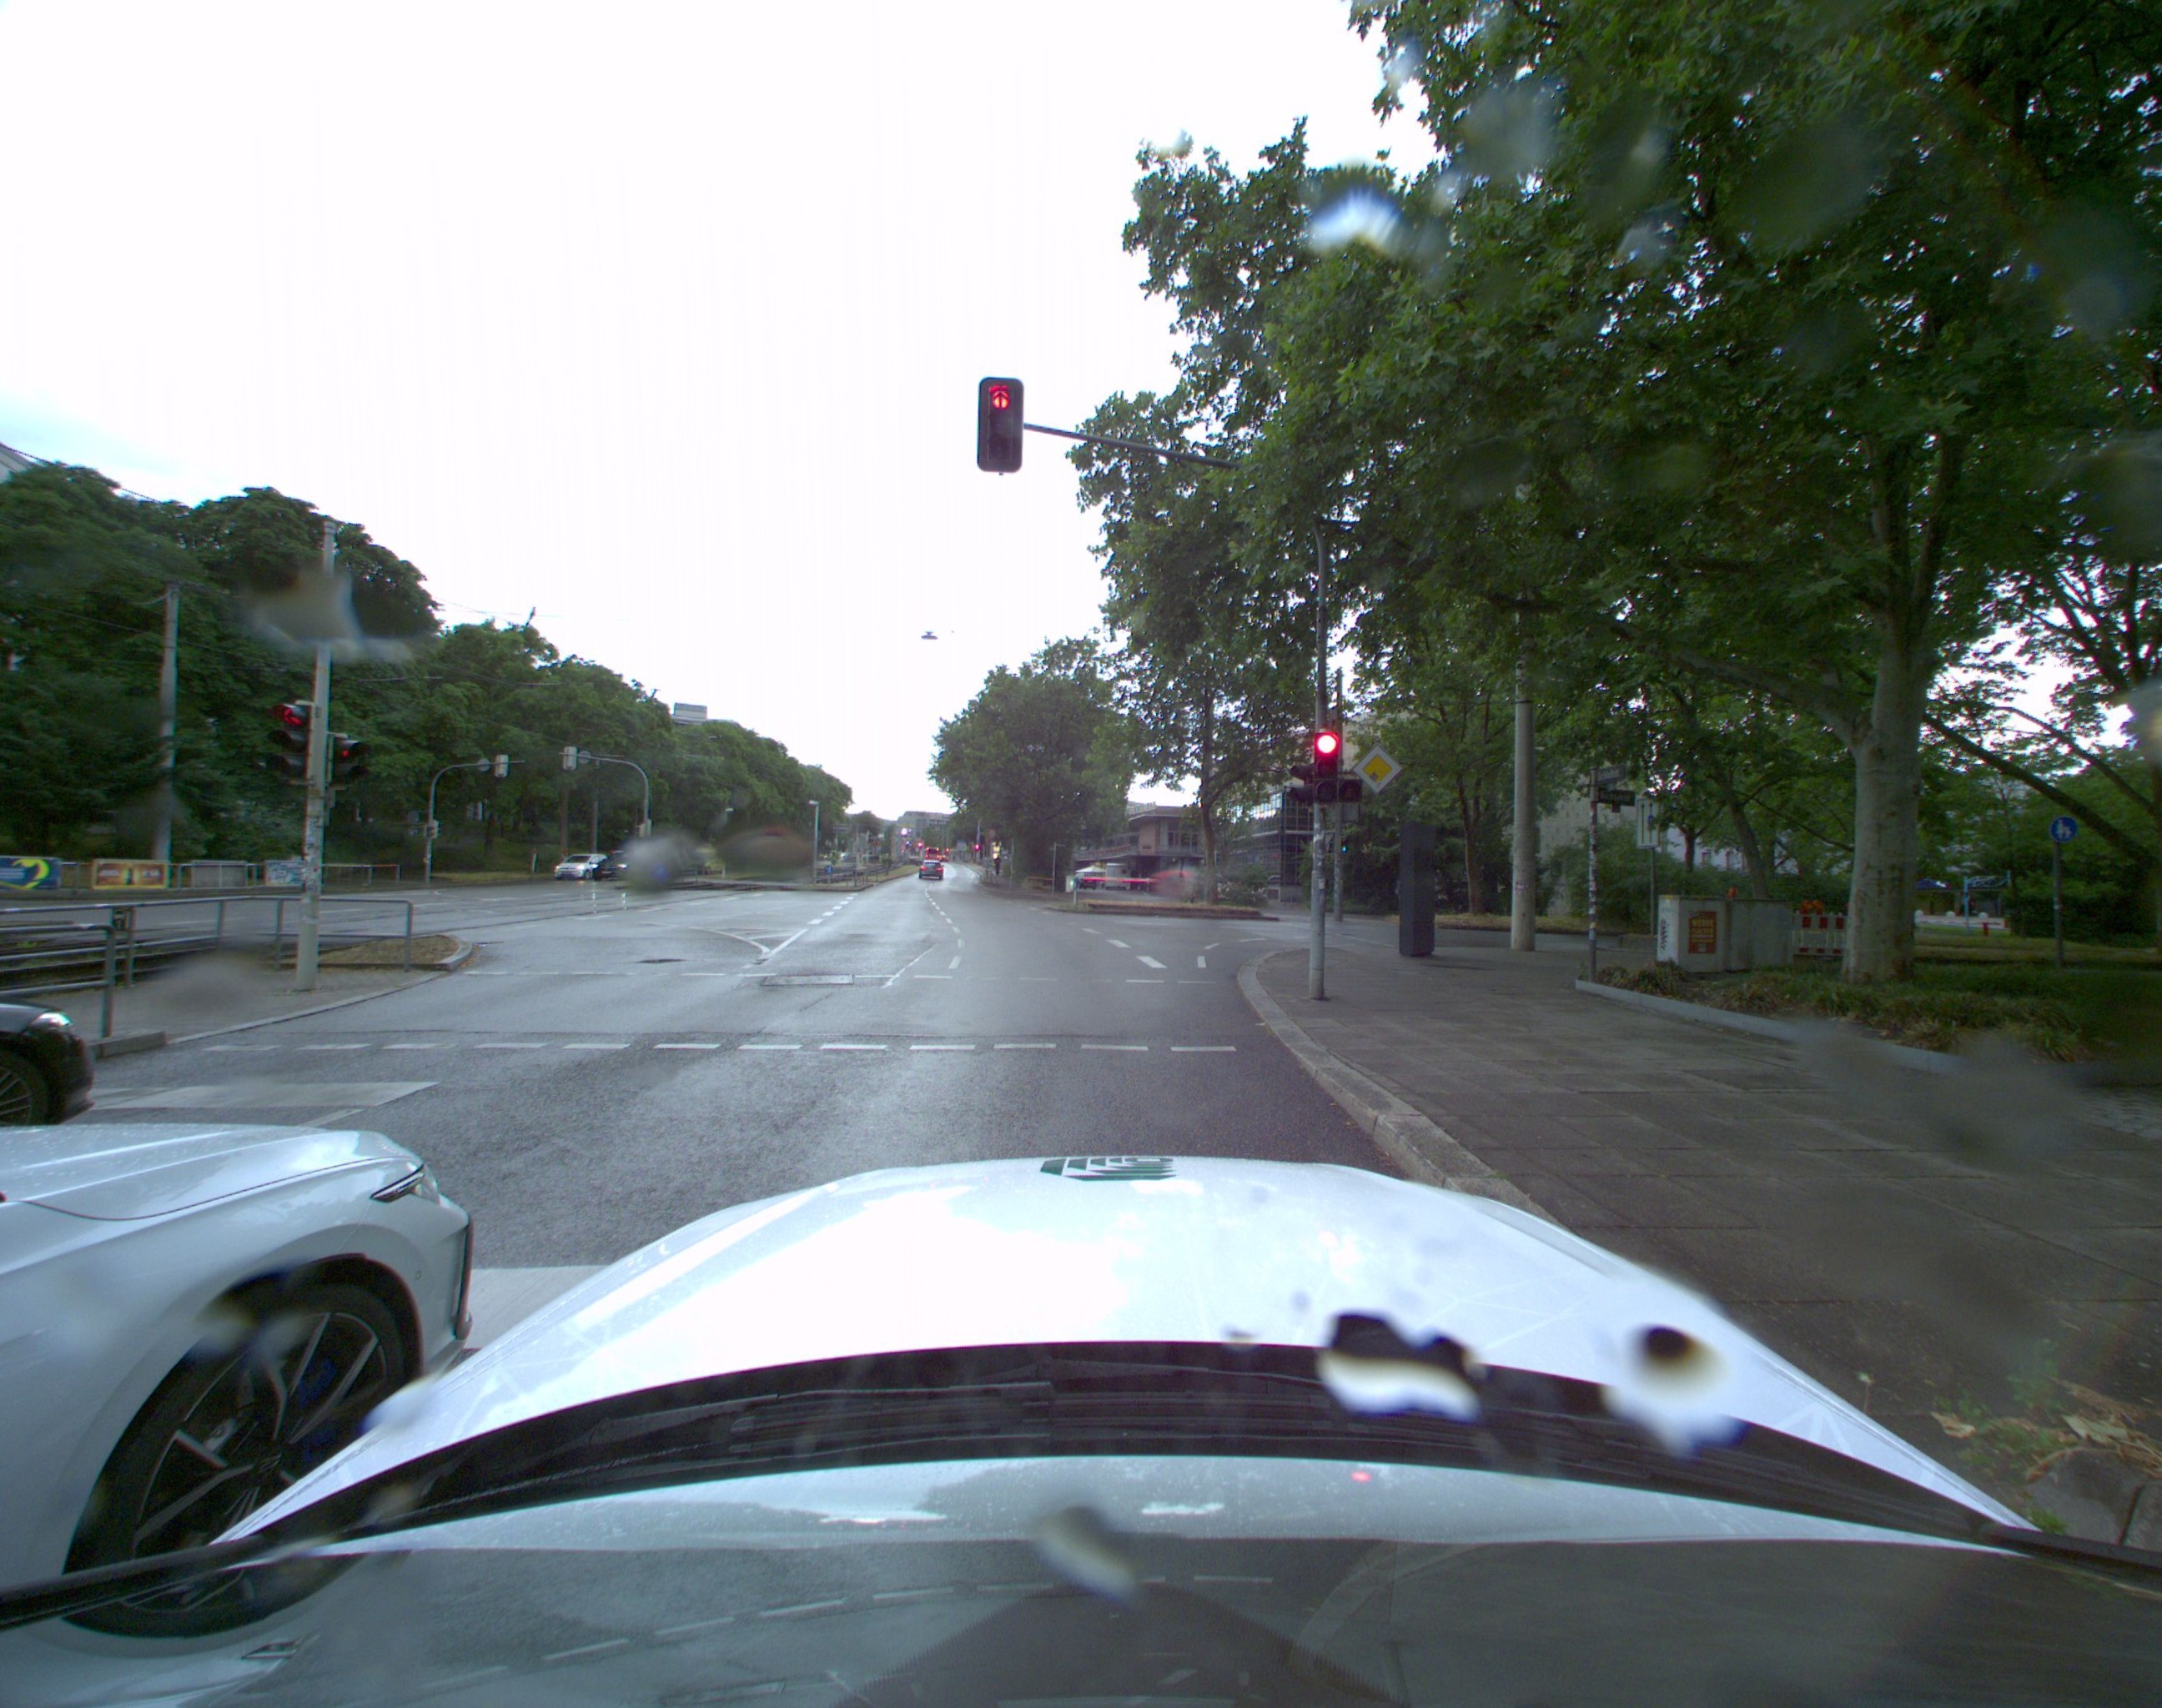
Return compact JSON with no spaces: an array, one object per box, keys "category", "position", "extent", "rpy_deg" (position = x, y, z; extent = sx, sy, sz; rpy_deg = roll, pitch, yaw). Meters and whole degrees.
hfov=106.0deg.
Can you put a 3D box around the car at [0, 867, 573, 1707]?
[{"category":"car","position":[-2.519,0.752,0.262],"extent":[1.789,1.442,4.477],"rpy_deg":[0,0,2]}]

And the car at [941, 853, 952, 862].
[{"category":"car","position":[-30.122,0.807,182.388],"extent":[2.364,1.817,5.164],"rpy_deg":[0,-1,-11]}]

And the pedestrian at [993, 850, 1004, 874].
[{"category":"pedestrian","position":[-7.037,0.707,69.301],"extent":[0.873,2.014,1.075],"rpy_deg":[0,-1,-6]}]

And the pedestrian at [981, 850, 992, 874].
[{"category":"pedestrian","position":[-8.015,0.713,69.085],"extent":[0.813,2.014,1.075],"rpy_deg":[0,-1,-6]}]

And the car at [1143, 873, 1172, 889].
[{"category":"car","position":[8.301,2.906,89.070],"extent":[2.020,1.551,4.334],"rpy_deg":[2,0,-10]}]

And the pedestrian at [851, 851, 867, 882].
[{"category":"pedestrian","position":[-13.263,0.734,48.653],"extent":[0.870,1.802,0.864],"rpy_deg":[2,-1,-14]}]

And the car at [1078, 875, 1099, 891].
[{"category":"car","position":[0.857,3.064,88.063],"extent":[2.010,1.551,4.355],"rpy_deg":[2,0,4]}]

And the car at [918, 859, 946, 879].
[{"category":"car","position":[-11.514,1.149,62.991],"extent":[1.993,1.519,4.336],"rpy_deg":[0,-1,-9]}]

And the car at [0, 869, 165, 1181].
[{"category":"car","position":[-5.968,0.793,2.215],"extent":[1.789,1.442,4.477],"rpy_deg":[0,0,2]}]

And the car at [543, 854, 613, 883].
[{"category":"car","position":[-29.003,0.828,47.088],"extent":[1.917,1.546,3.674],"rpy_deg":[1,-1,-5]}]

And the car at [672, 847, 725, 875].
[{"category":"car","position":[-26.898,0.521,57.460],"extent":[1.917,1.851,4.558],"rpy_deg":[1,-1,-5]}]

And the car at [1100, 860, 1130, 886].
[{"category":"car","position":[3.753,2.100,91.506],"extent":[2.725,2.695,6.916],"rpy_deg":[2,0,-2]}]

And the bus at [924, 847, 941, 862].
[{"category":"bus","position":[-32.437,0.107,177.473],"extent":[3.591,3.171,10.381],"rpy_deg":[0,-1,-11]}]

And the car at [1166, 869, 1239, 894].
[{"category":"car","position":[9.274,2.120,62.113],"extent":[5.221,1.731,1.860],"rpy_deg":[2,-1,-23]}]

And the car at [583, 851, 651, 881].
[{"category":"car","position":[-25.811,0.666,45.477],"extent":[1.917,1.546,3.674],"rpy_deg":[1,-1,-5]}]
